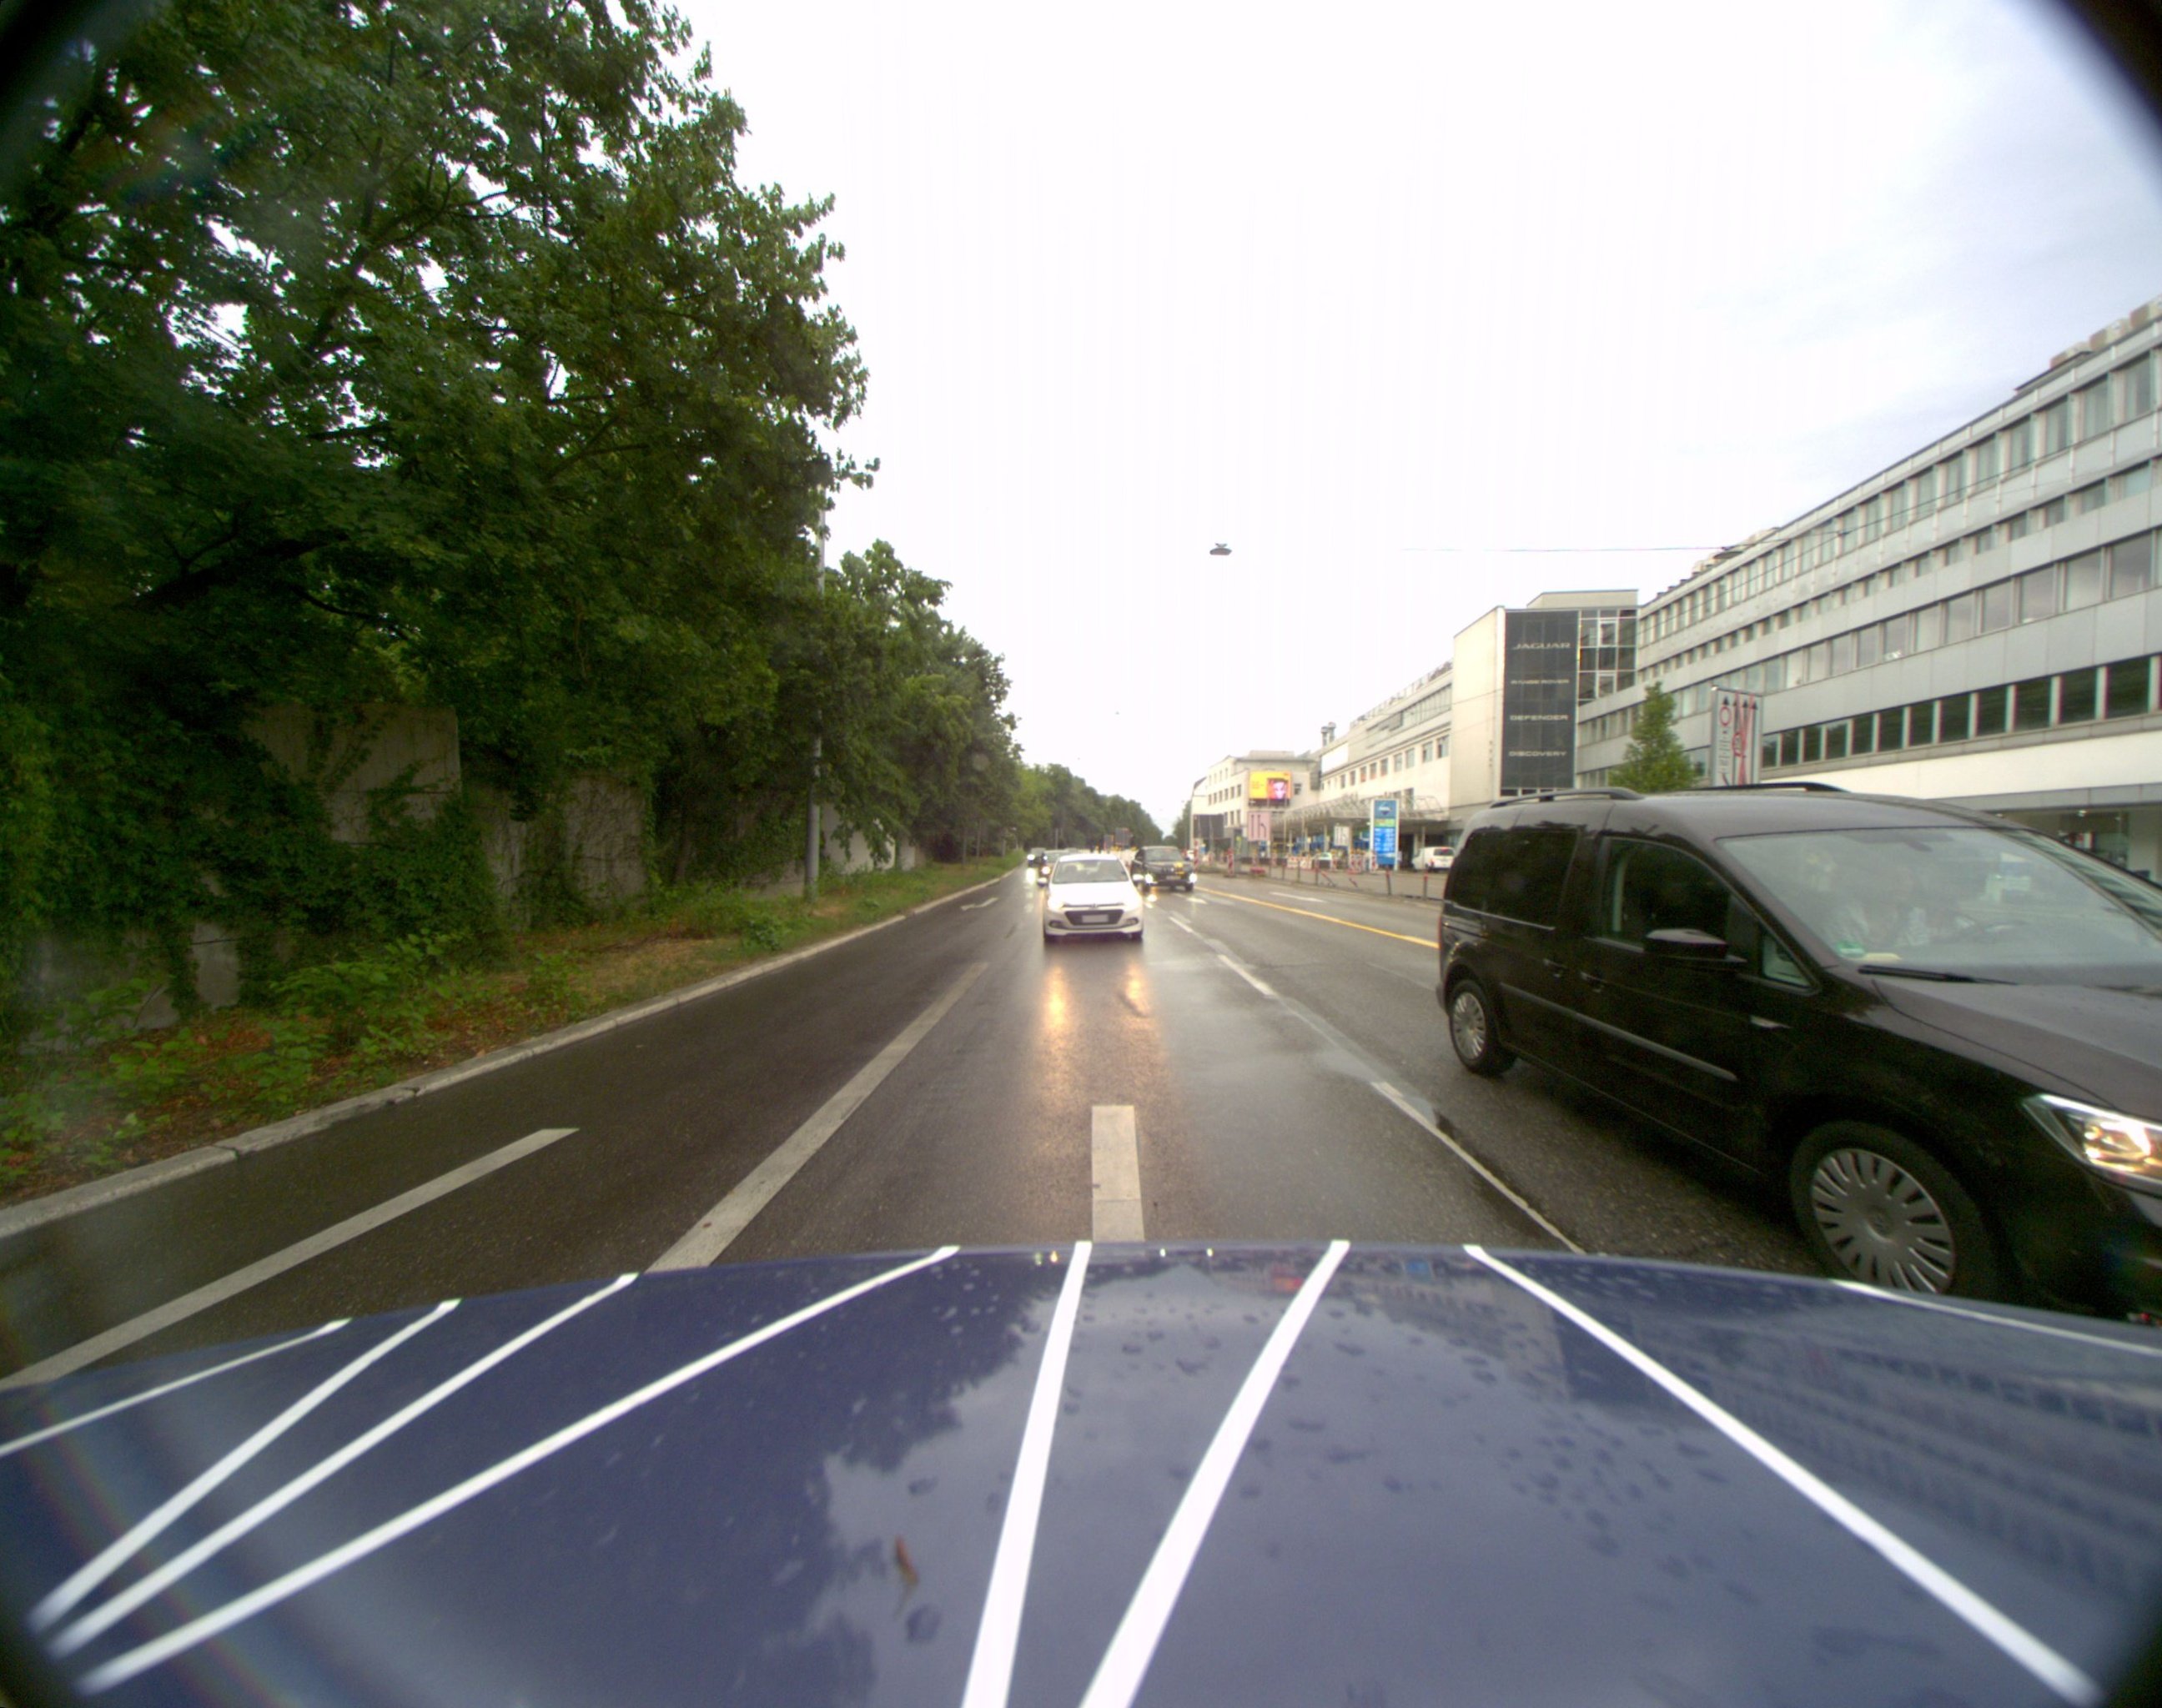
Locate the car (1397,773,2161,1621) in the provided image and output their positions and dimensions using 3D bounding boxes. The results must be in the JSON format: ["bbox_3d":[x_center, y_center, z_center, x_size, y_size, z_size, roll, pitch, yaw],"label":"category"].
[{"bbox_3d":[3.275,0.673,3.435,1.905,1.804,4.430,-2,1,2],"label":"car"}]

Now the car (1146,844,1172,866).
[{"bbox_3d":[6.270,0.053,61.602,1.771,1.608,3.949,-2,1,2],"label":"car"}]

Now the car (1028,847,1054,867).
[{"bbox_3d":[-3.441,0.191,65.700,1.814,1.590,4.333,-2,1,2],"label":"car"}]

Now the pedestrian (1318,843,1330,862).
[{"bbox_3d":[23.592,-0.159,73.690,0.895,1.804,0.941,-2,1,5],"label":"pedestrian"}]

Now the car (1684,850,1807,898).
[{"bbox_3d":[28.379,0.788,32.644,1.922,1.805,4.166,-2,1,6],"label":"car"}]

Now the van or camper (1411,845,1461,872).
[{"bbox_3d":[26.900,0.303,57.737,1.940,1.913,4.685,0,1,5],"label":"van or camper"}]

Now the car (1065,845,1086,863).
[{"bbox_3d":[-0.532,-0.015,75.246,1.814,1.590,4.333,-2,1,2],"label":"car"}]

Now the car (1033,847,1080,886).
[{"bbox_3d":[-1.057,0.509,34.678,1.814,1.590,4.333,-2,1,2],"label":"car"}]

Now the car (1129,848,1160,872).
[{"bbox_3d":[4.035,0.340,49.036,1.771,1.407,4.333,-2,1,2],"label":"car"}]

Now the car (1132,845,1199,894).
[{"bbox_3d":[3.001,0.487,27.866,1.814,1.590,4.332,-2,1,-2],"label":"car"}]

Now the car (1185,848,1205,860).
[{"bbox_3d":[14.628,0.008,97.562,1.806,1.523,3.764,3,0,-1],"label":"car"}]

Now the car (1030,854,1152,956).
[{"bbox_3d":[0.214,0.790,13.838,1.814,1.444,4.333,-2,1,2],"label":"car"}]

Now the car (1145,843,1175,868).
[{"bbox_3d":[5.668,0.086,54.957,1.771,1.628,4.333,-2,1,2],"label":"car"}]
